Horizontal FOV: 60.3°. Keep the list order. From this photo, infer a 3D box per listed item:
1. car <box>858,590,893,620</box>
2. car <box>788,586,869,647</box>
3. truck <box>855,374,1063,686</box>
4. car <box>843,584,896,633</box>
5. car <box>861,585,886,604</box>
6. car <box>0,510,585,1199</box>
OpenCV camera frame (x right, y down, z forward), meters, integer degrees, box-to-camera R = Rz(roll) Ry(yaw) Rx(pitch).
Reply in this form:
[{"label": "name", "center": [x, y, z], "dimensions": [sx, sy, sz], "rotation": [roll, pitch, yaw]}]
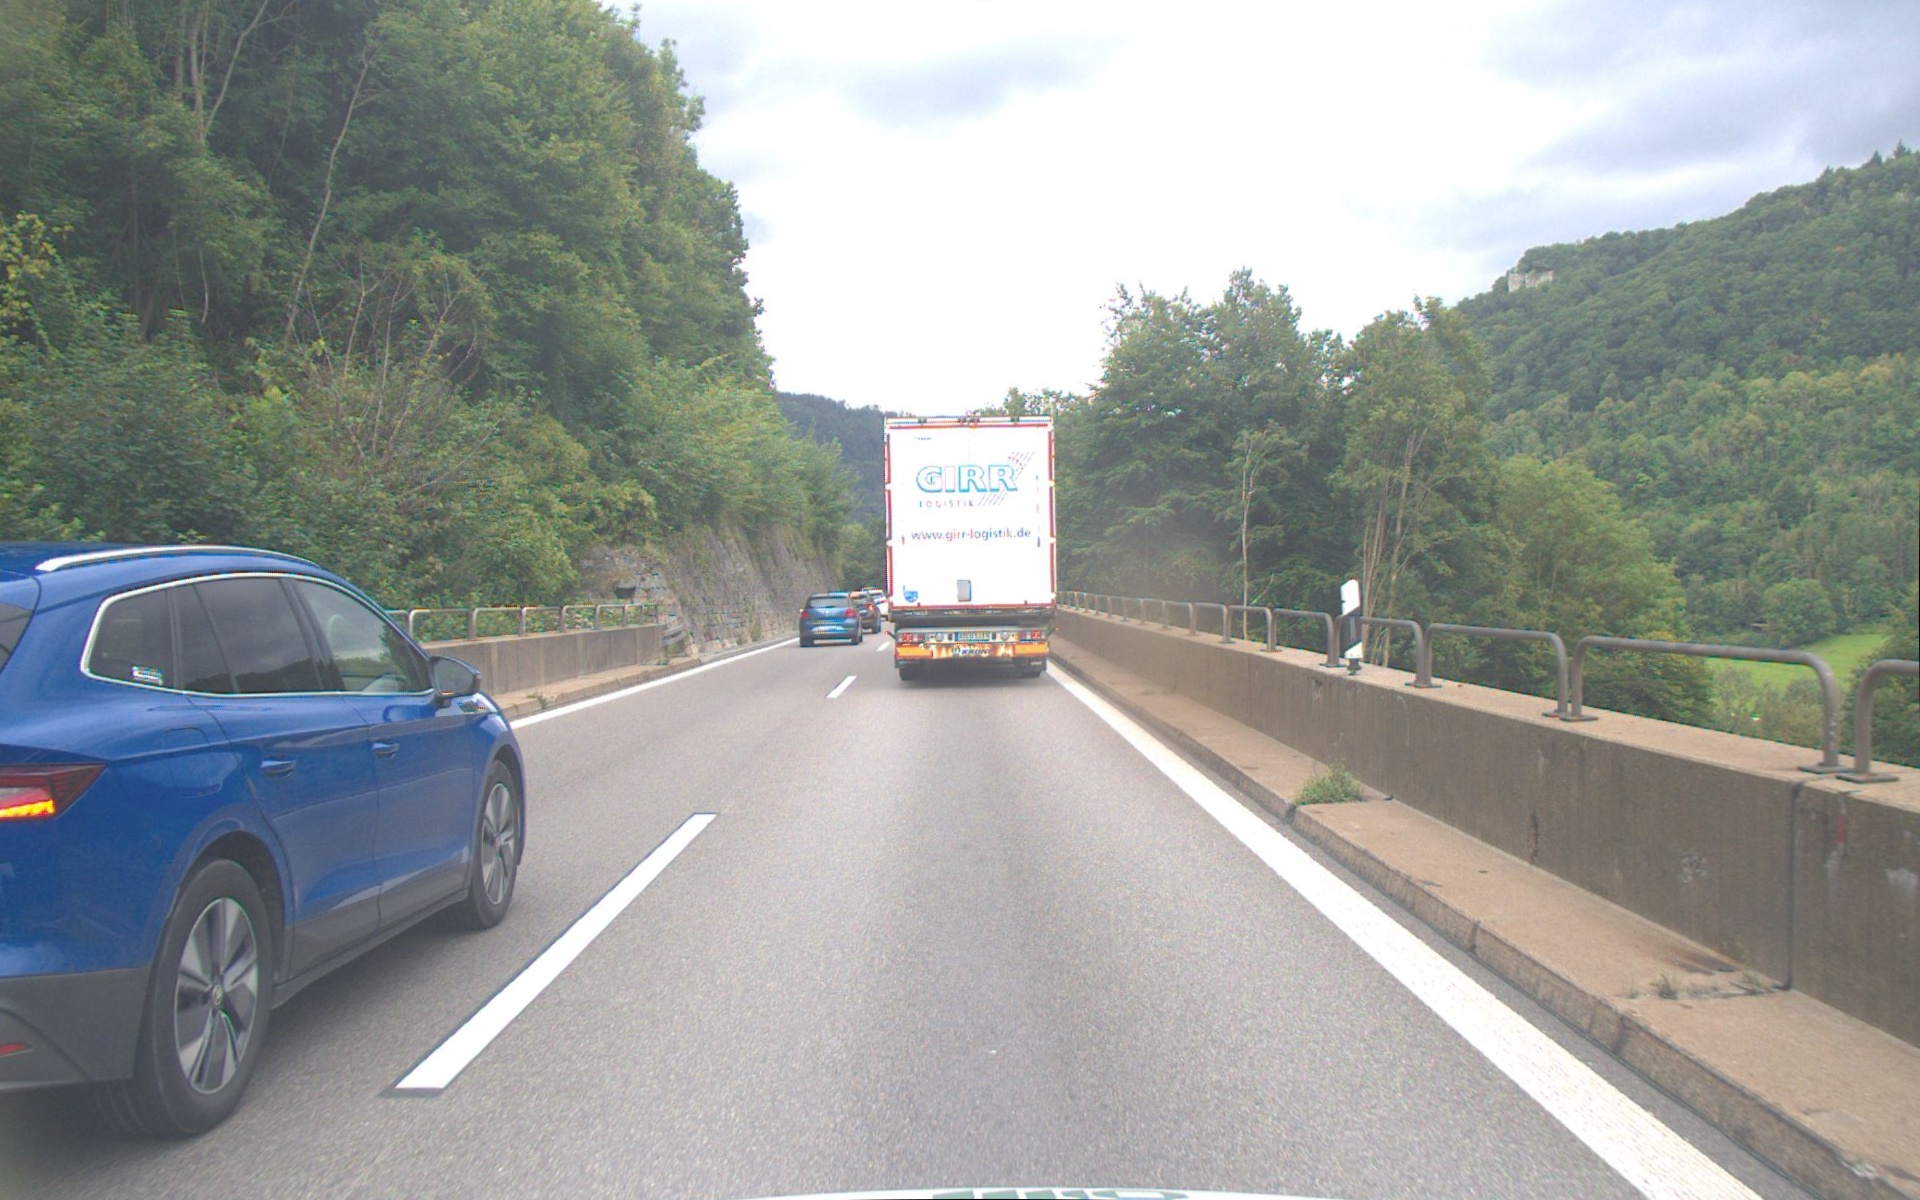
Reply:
[{"label": "car", "center": [-4.318, 0.256, 85.363], "dimensions": [1.710, 1.512, 3.999], "rotation": [0, 0, -2]}, {"label": "car", "center": [-3.658, 0.434, 46.830], "dimensions": [1.953, 1.624, 4.353], "rotation": [1, 0, -1]}, {"label": "truck", "center": [-0.103, -1.055, 31.742], "dimensions": [3.022, 4.542, 15.153], "rotation": [0, 0, -1]}, {"label": "car", "center": [-3.135, 0.298, 57.944], "dimensions": [1.710, 1.614, 3.998], "rotation": [1, -1, -2]}, {"label": "car", "center": [-7.677, -0.448, 145.908], "dimensions": [1.713, 1.614, 3.990], "rotation": [1, -1, -10]}, {"label": "car", "center": [-2.895, 0.610, 5.845], "dimensions": [1.953, 1.660, 5.008], "rotation": [1, 0, 0]}]
